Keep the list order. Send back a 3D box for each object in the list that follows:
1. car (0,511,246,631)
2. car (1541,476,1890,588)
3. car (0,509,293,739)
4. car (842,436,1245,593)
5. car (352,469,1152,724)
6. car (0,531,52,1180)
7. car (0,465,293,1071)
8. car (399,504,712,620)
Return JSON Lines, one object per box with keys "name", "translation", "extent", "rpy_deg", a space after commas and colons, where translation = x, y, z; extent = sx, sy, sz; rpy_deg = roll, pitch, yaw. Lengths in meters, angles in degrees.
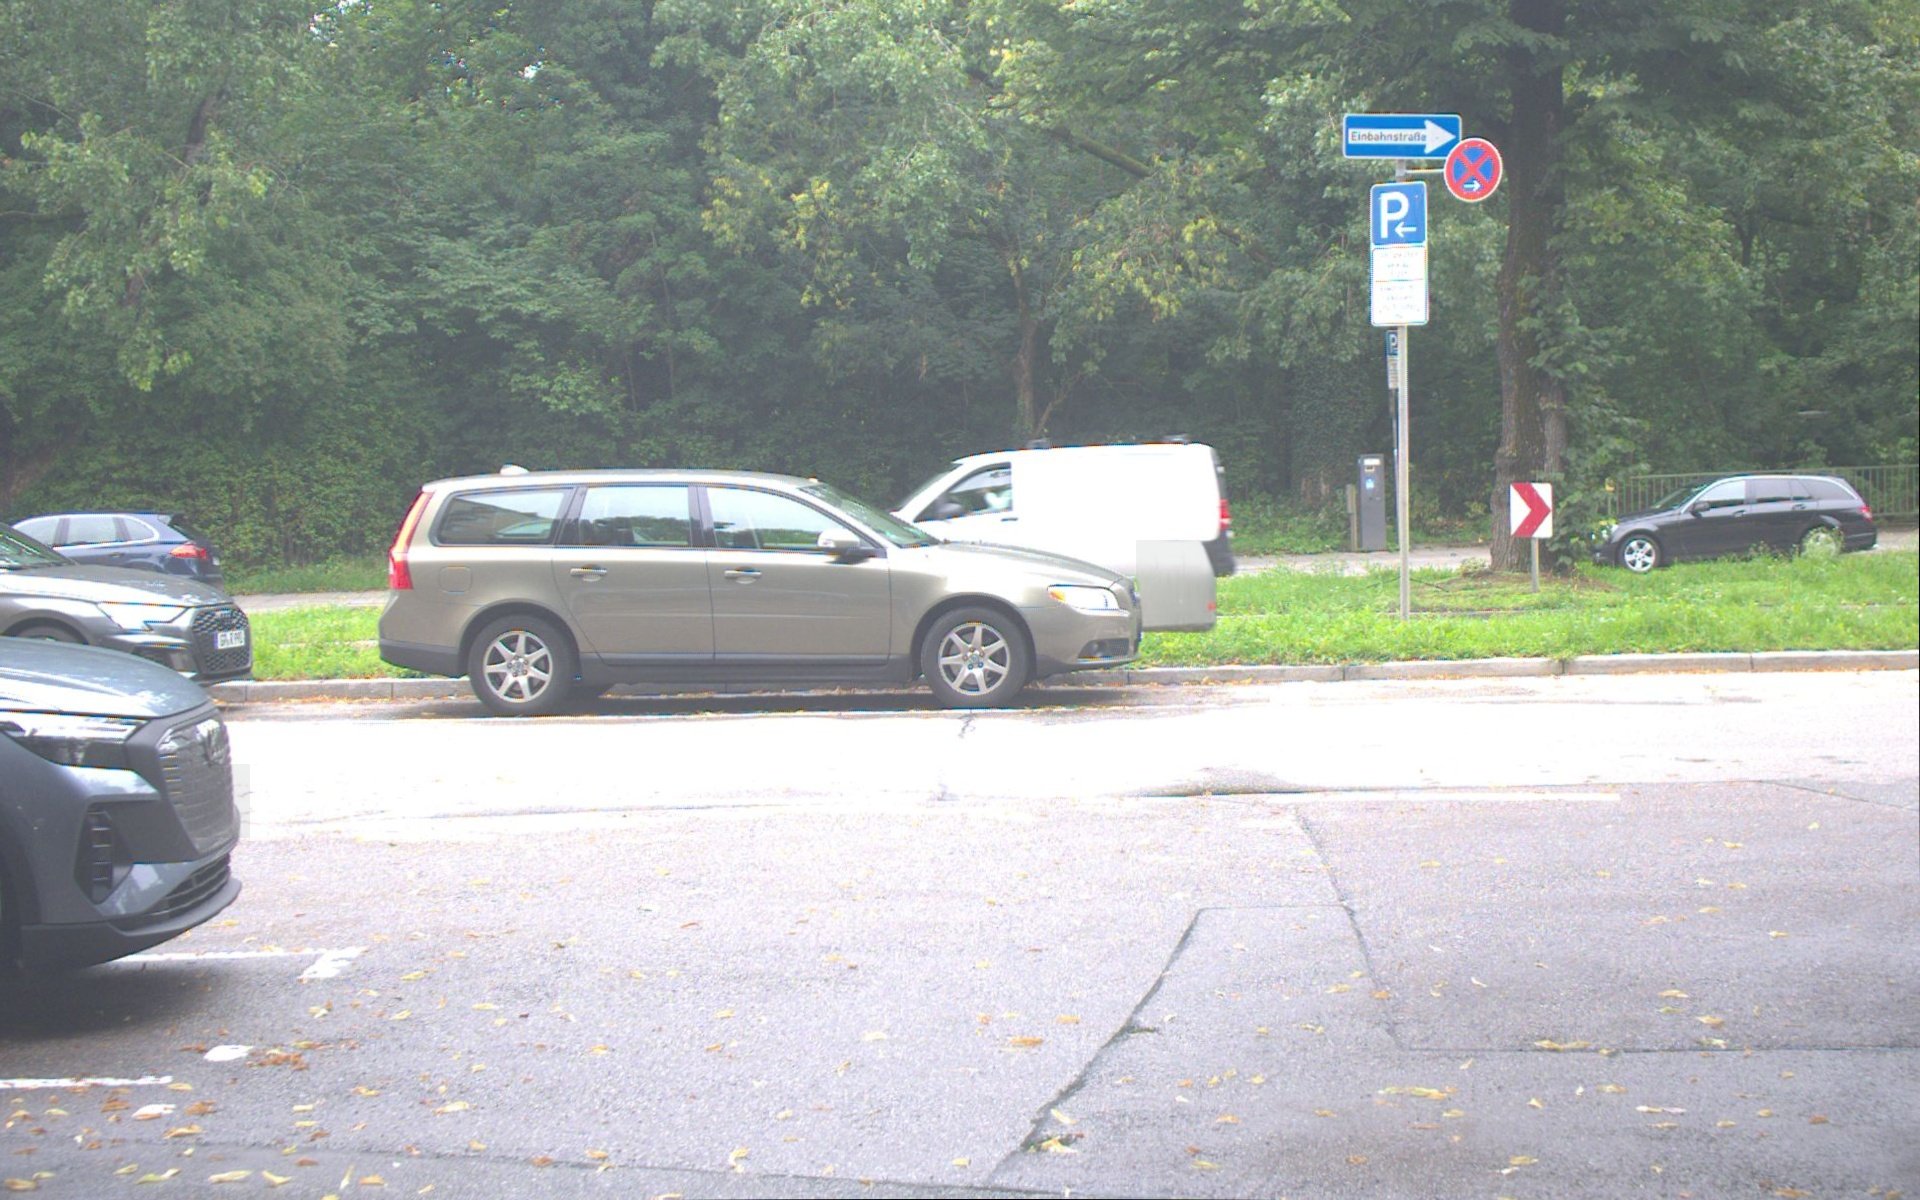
{"name": "car", "translation": [-12.531, -0.412, 48.750], "extent": [4.434, 1.573, 1.932], "rpy_deg": [-2, 2, -4]}
{"name": "car", "translation": [11.035, -1.010, 50.384], "extent": [4.580, 1.466, 1.932], "rpy_deg": [-2, 2, -7]}
{"name": "car", "translation": [-6.743, 0.166, 22.336], "extent": [4.349, 1.375, 1.769], "rpy_deg": [-1, 2, 9]}
{"name": "car", "translation": [0.926, -1.005, 40.154], "extent": [4.504, 1.662, 1.932], "rpy_deg": [-2, 2, -4]}
{"name": "car", "translation": [-1.240, -0.046, 21.796], "extent": [4.802, 1.490, 1.842], "rpy_deg": [-1, 2, 6]}
{"name": "car", "translation": [-4.191, 0.676, 7.329], "extent": [3.987, 1.459, 1.736], "rpy_deg": [-2, 3, 0]}
{"name": "car", "translation": [-4.263, 0.493, 10.205], "extent": [4.162, 1.595, 1.736], "rpy_deg": [-2, 3, 0]}
{"name": "car", "translation": [-5.721, -0.560, 49.086], "extent": [4.233, 1.489, 2.000], "rpy_deg": [-2, 2, -1]}
